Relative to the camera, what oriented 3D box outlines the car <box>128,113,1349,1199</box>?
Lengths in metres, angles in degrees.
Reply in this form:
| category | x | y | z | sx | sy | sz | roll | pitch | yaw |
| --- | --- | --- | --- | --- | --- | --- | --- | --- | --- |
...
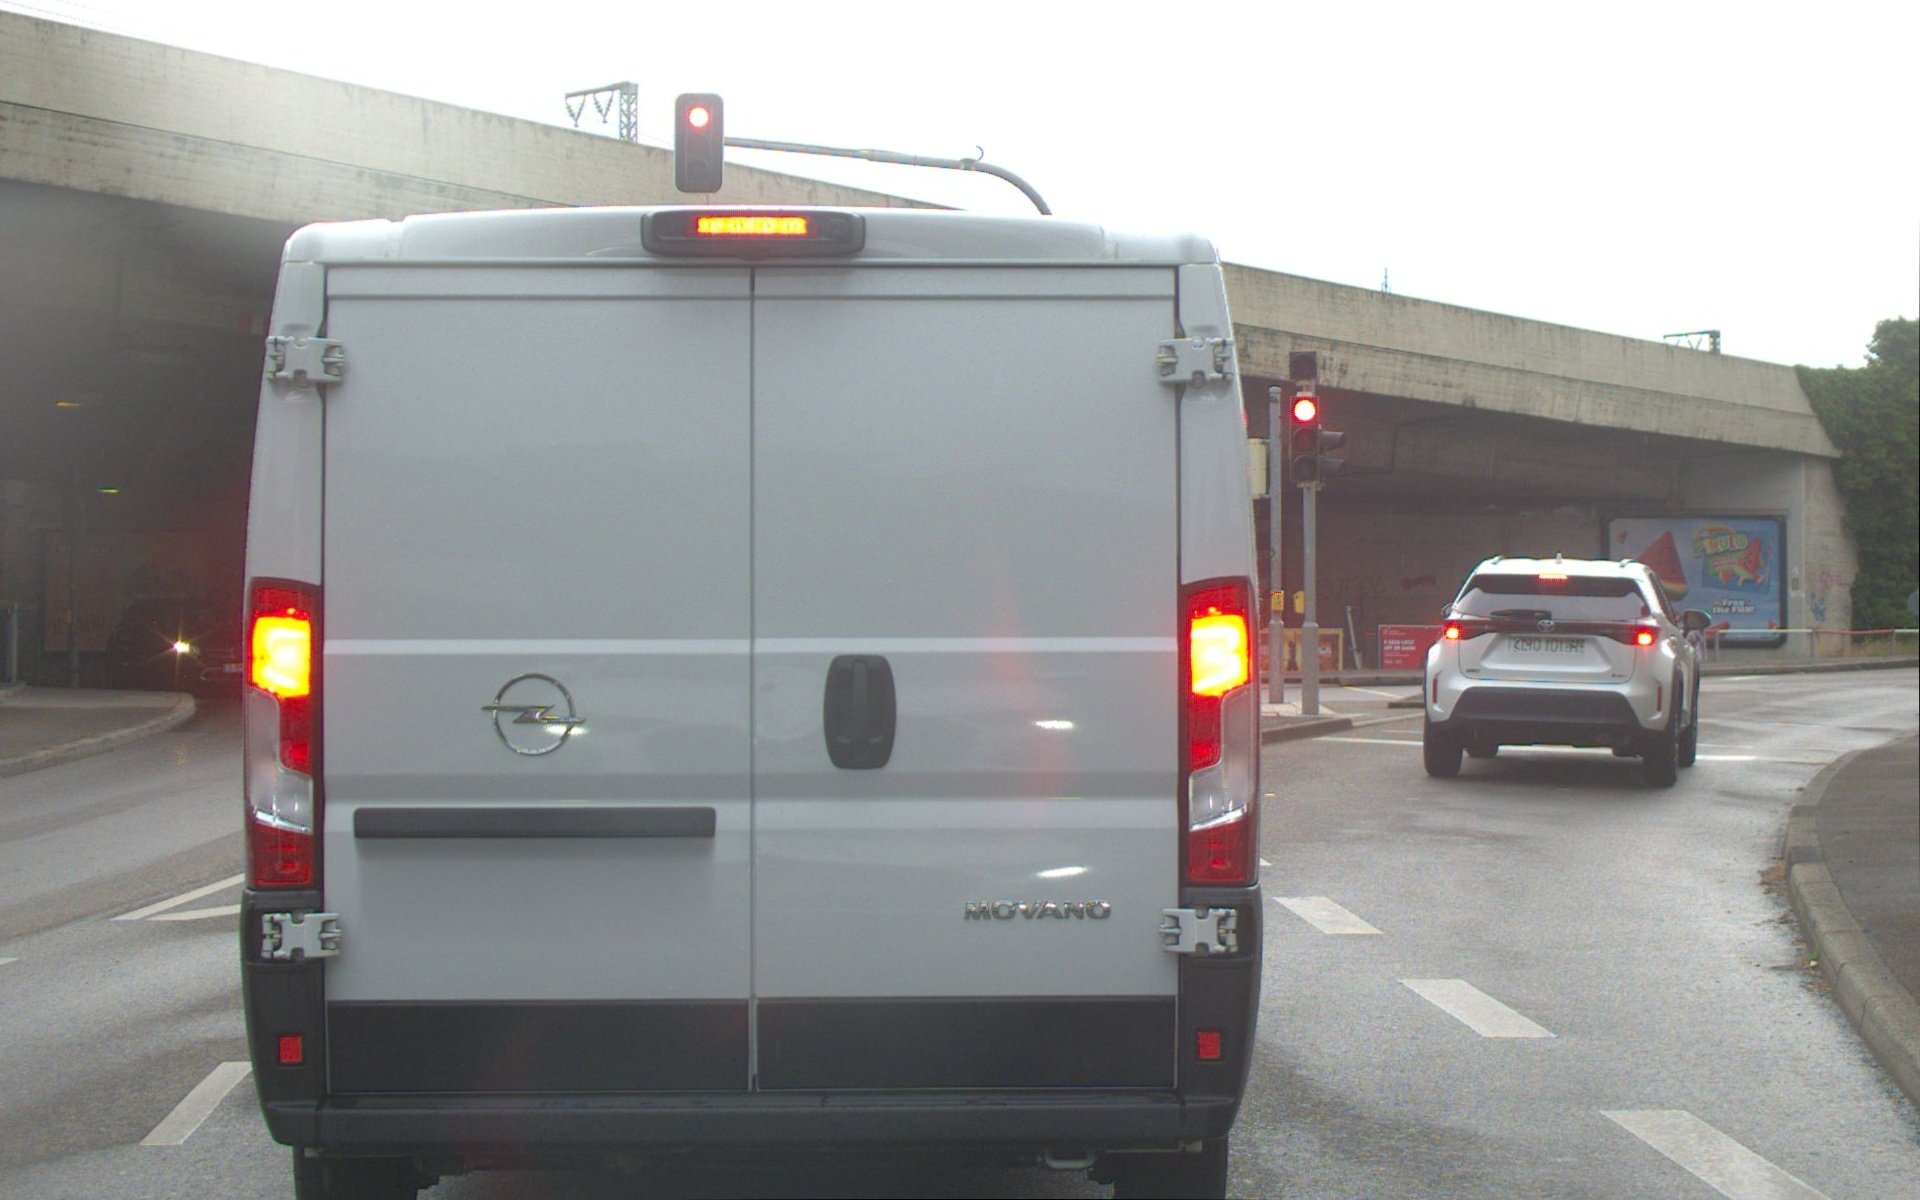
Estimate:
| category | x | y | z | sx | sy | sz | roll | pitch | yaw |
| --- | --- | --- | --- | --- | --- | --- | --- | --- | --- |
| car | -0.338 | 0.237 | 9.158 | 2.305 | 2.335 | 5.282 | 0 | 0 | 2 |

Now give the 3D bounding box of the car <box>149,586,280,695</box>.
| category | x | y | z | sx | sy | sz | roll | pitch | yaw |
| --- | --- | --- | --- | --- | --- | --- | --- | --- | --- |
| car | -11.768 | 0.598 | 54.092 | 1.914 | 1.621 | 4.436 | 0 | 0 | -14 |

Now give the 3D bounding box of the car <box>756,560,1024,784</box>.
| category | x | y | z | sx | sy | sz | roll | pitch | yaw |
| --- | --- | --- | --- | --- | --- | --- | --- | --- | --- |
| car | -0.507 | 0.579 | 28.650 | 1.994 | 1.723 | 3.999 | 0 | -1 | 2 |

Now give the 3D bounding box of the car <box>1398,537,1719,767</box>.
| category | x | y | z | sx | sy | sz | roll | pitch | yaw |
| --- | --- | --- | --- | --- | --- | --- | --- | --- | --- |
| car | 4.477 | 0.374 | 25.263 | 1.995 | 1.544 | 3.997 | 0 | -1 | 15 |
